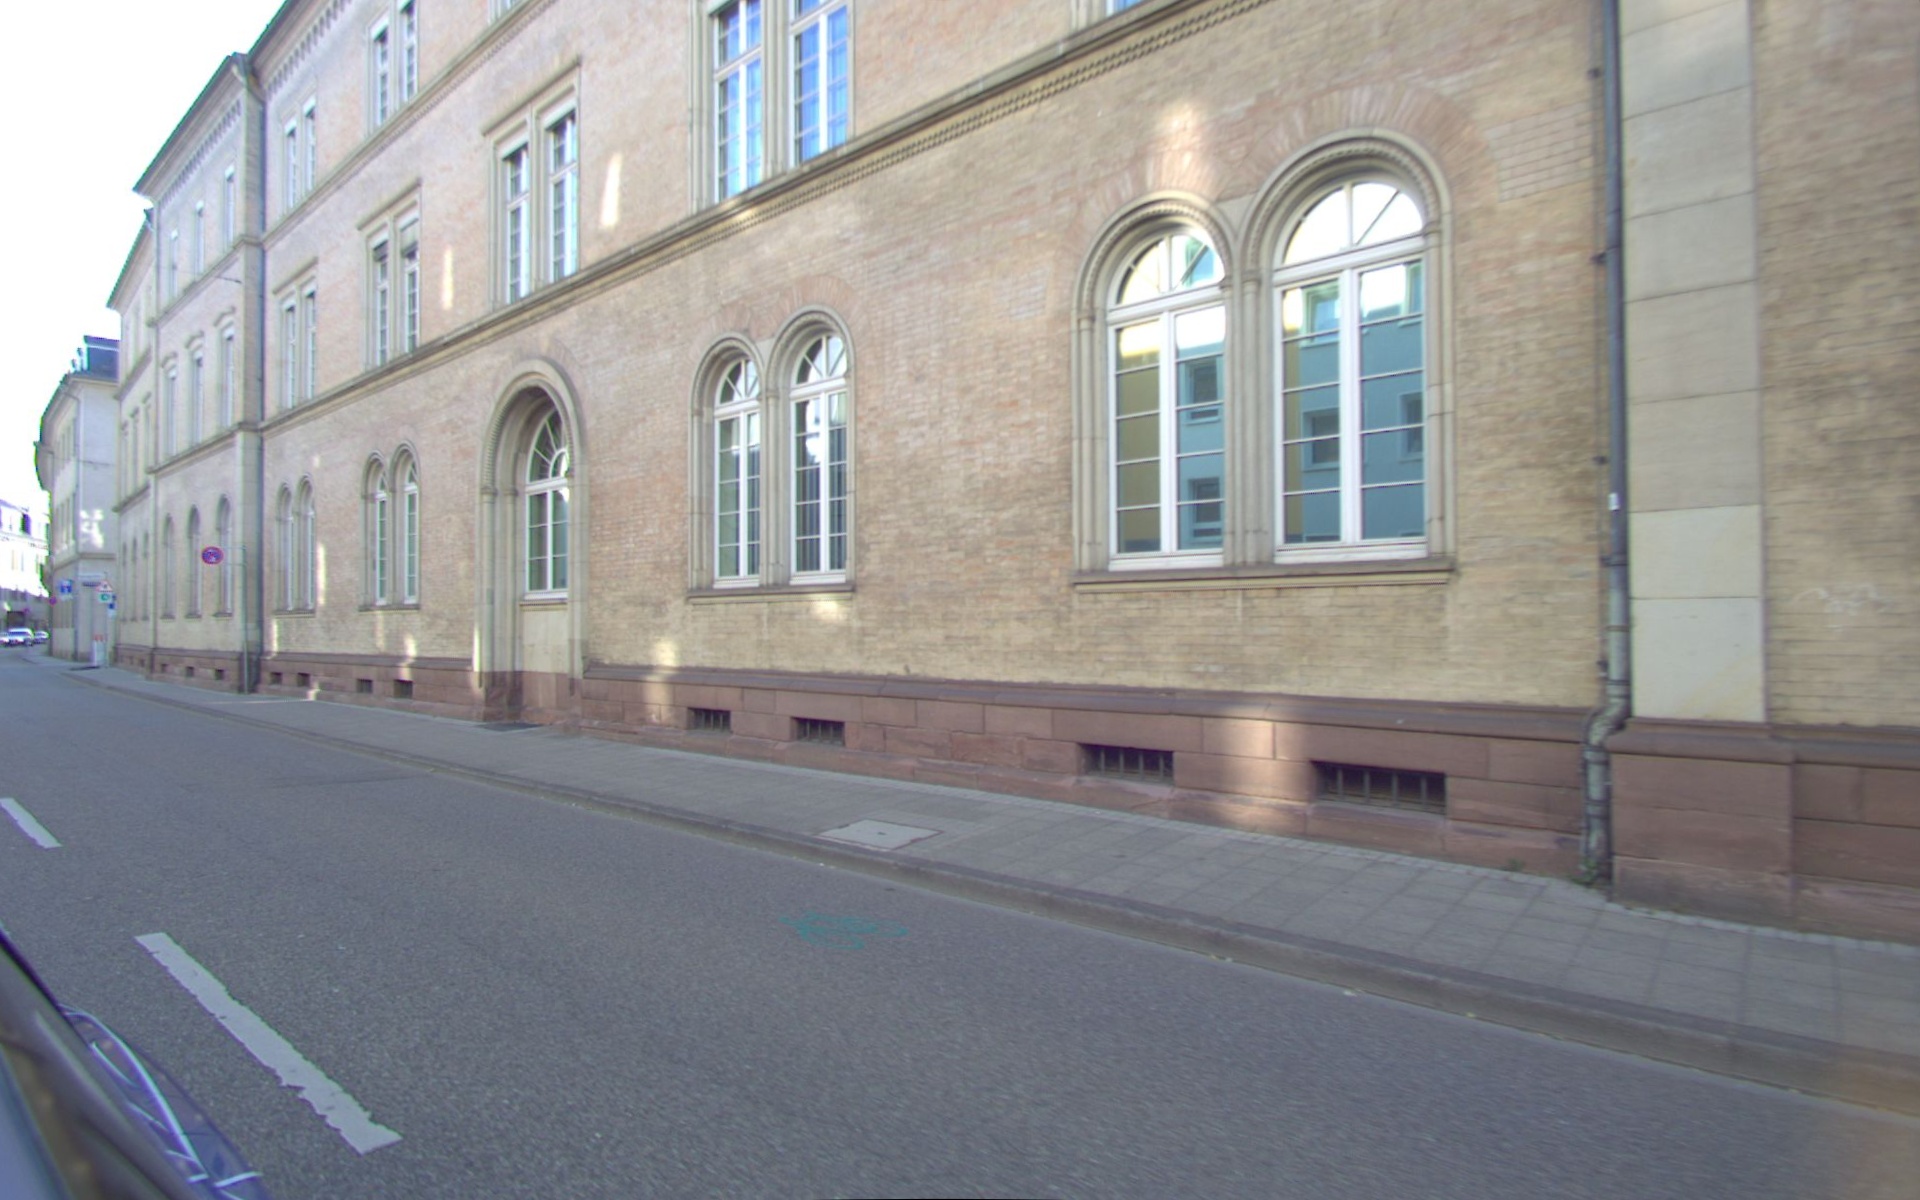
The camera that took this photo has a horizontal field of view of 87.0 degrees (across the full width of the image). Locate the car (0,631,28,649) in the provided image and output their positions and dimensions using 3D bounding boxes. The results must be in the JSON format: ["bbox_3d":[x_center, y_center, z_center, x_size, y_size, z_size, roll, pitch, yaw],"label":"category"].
[{"bbox_3d":[-94.898,4.001,101.066,1.892,1.735,4.973,0,-2,-34],"label":"car"}]

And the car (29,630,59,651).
[{"bbox_3d":[-78.739,3.440,87.019,1.639,1.737,3.746,1,-2,-38],"label":"car"}]

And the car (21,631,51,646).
[{"bbox_3d":[-108.354,4.492,118.656,1.897,1.737,4.241,1,-2,-33],"label":"car"}]
